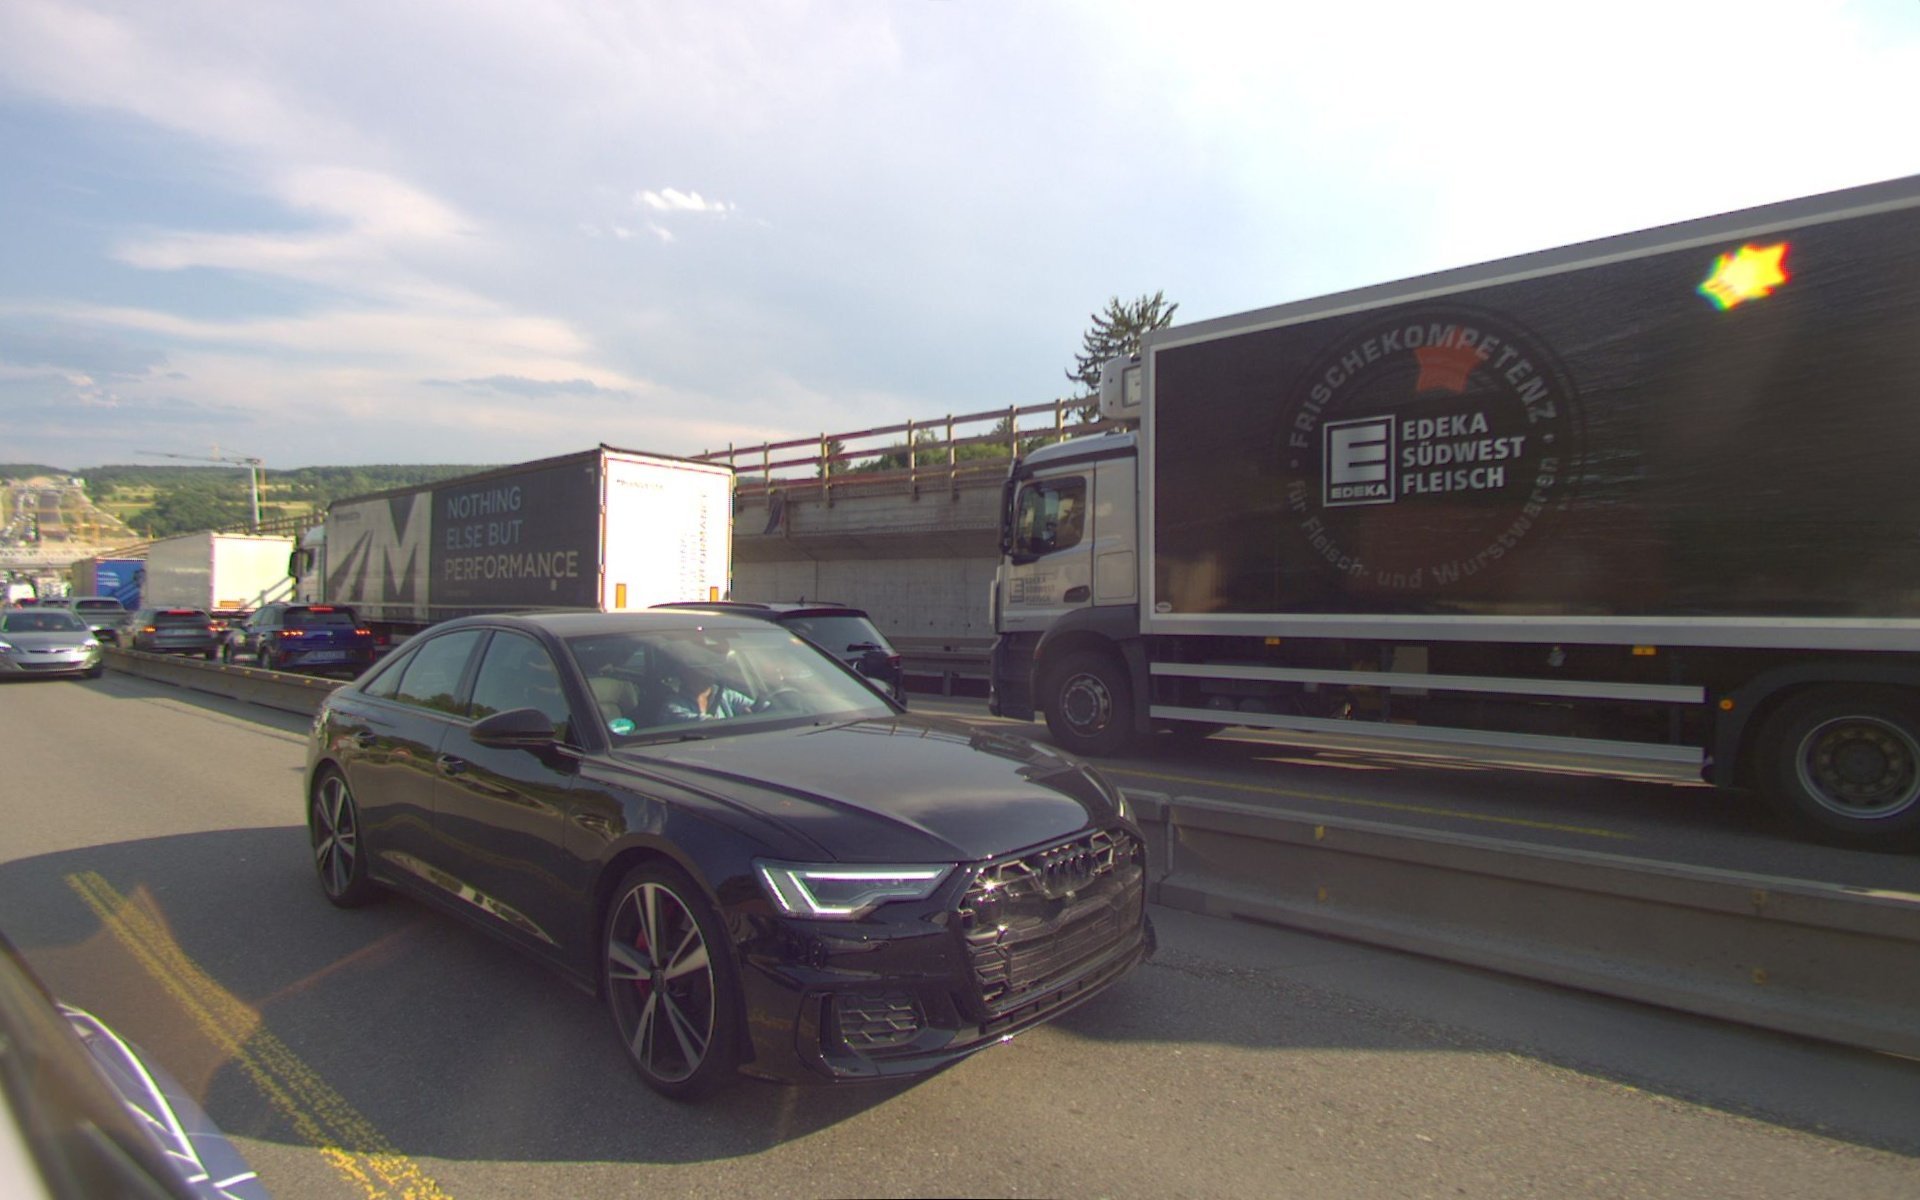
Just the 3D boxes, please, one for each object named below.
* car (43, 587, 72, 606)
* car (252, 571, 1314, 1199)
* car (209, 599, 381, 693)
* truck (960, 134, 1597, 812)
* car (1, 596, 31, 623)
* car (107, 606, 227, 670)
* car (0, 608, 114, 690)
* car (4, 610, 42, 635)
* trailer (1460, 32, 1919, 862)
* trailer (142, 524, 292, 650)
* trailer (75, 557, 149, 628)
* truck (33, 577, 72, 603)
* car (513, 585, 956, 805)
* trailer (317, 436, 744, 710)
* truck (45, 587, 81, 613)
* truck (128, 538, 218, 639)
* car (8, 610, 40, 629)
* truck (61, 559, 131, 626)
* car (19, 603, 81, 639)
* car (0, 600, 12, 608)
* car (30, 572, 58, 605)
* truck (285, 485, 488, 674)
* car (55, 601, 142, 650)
[{"bbox_3d":[-103.209,-0.427,115.717,2.184,2.037,3.976,-4,3,-44],"label":"car"},{"bbox_3d":[-1.325,0.706,4.587,5.220,1.491,1.920,0,-1,42],"label":"car"},{"bbox_3d":[-13.236,0.810,20.042,4.478,1.562,1.748,1,2,42],"label":"car"},{"bbox_3d":[2.829,-0.859,9.545,5.025,4.548,2.889,0,0,41],"label":"truck"},{"bbox_3d":[-93.571,0.910,100.297,1.973,2.636,5.617,2,-1,-45],"label":"car"},{"bbox_3d":[-21.695,0.969,27.615,4.813,1.467,1.756,1,2,42],"label":"car"},{"bbox_3d":[-18.916,0.936,20.701,4.116,1.498,1.787,0,-1,40],"label":"car"},{"bbox_3d":[-63.332,1.475,68.401,4.372,1.588,1.680,0,0,45],"label":"car"},{"bbox_3d":[7.088,-0.837,5.730,7.150,4.499,2.880,0,0,42],"label":"trailer"},{"bbox_3d":[-30.110,-0.473,40.605,13.778,4.352,2.428,0,0,44],"label":"trailer"},{"bbox_3d":[-52.997,-0.458,63.155,8.291,4.136,2.784,0,0,45],"label":"trailer"},{"bbox_3d":[-112.855,-1.185,125.796,6.492,3.169,3.198,0,0,44],"label":"truck"},{"bbox_3d":[-2.425,0.697,10.045,4.745,1.598,1.843,1,4,42],"label":"car"},{"bbox_3d":[-9.826,-0.436,21.357,13.831,4.235,2.746,0,0,42],"label":"trailer"},{"bbox_3d":[-87.894,-0.025,99.158,2.248,2.318,6.068,-4,3,-44],"label":"truck"},{"bbox_3d":[-36.035,-0.503,46.279,5.474,4.348,2.428,0,0,43],"label":"truck"},{"bbox_3d":[-77.211,1.625,83.466,1.722,1.451,4.594,-2,1,-45],"label":"car"},{"bbox_3d":[-59.684,-0.507,69.793,10.586,4.290,2.784,0,0,45],"label":"truck"},{"bbox_3d":[-46.114,1.008,51.235,4.731,1.618,1.860,1,2,43],"label":"car"},{"bbox_3d":[-168.542,0.678,178.525,1.688,1.329,3.667,-4,3,-44],"label":"car"},{"bbox_3d":[-155.893,-1.892,172.153,3.280,5.428,14.313,1,0,-43],"label":"car"},{"bbox_3d":[-14.763,-0.464,25.864,6.114,4.235,2.735,0,0,42],"label":"truck"},{"bbox_3d":[-33.558,0.937,39.377,4.974,1.667,1.986,1,2,43],"label":"car"}]
